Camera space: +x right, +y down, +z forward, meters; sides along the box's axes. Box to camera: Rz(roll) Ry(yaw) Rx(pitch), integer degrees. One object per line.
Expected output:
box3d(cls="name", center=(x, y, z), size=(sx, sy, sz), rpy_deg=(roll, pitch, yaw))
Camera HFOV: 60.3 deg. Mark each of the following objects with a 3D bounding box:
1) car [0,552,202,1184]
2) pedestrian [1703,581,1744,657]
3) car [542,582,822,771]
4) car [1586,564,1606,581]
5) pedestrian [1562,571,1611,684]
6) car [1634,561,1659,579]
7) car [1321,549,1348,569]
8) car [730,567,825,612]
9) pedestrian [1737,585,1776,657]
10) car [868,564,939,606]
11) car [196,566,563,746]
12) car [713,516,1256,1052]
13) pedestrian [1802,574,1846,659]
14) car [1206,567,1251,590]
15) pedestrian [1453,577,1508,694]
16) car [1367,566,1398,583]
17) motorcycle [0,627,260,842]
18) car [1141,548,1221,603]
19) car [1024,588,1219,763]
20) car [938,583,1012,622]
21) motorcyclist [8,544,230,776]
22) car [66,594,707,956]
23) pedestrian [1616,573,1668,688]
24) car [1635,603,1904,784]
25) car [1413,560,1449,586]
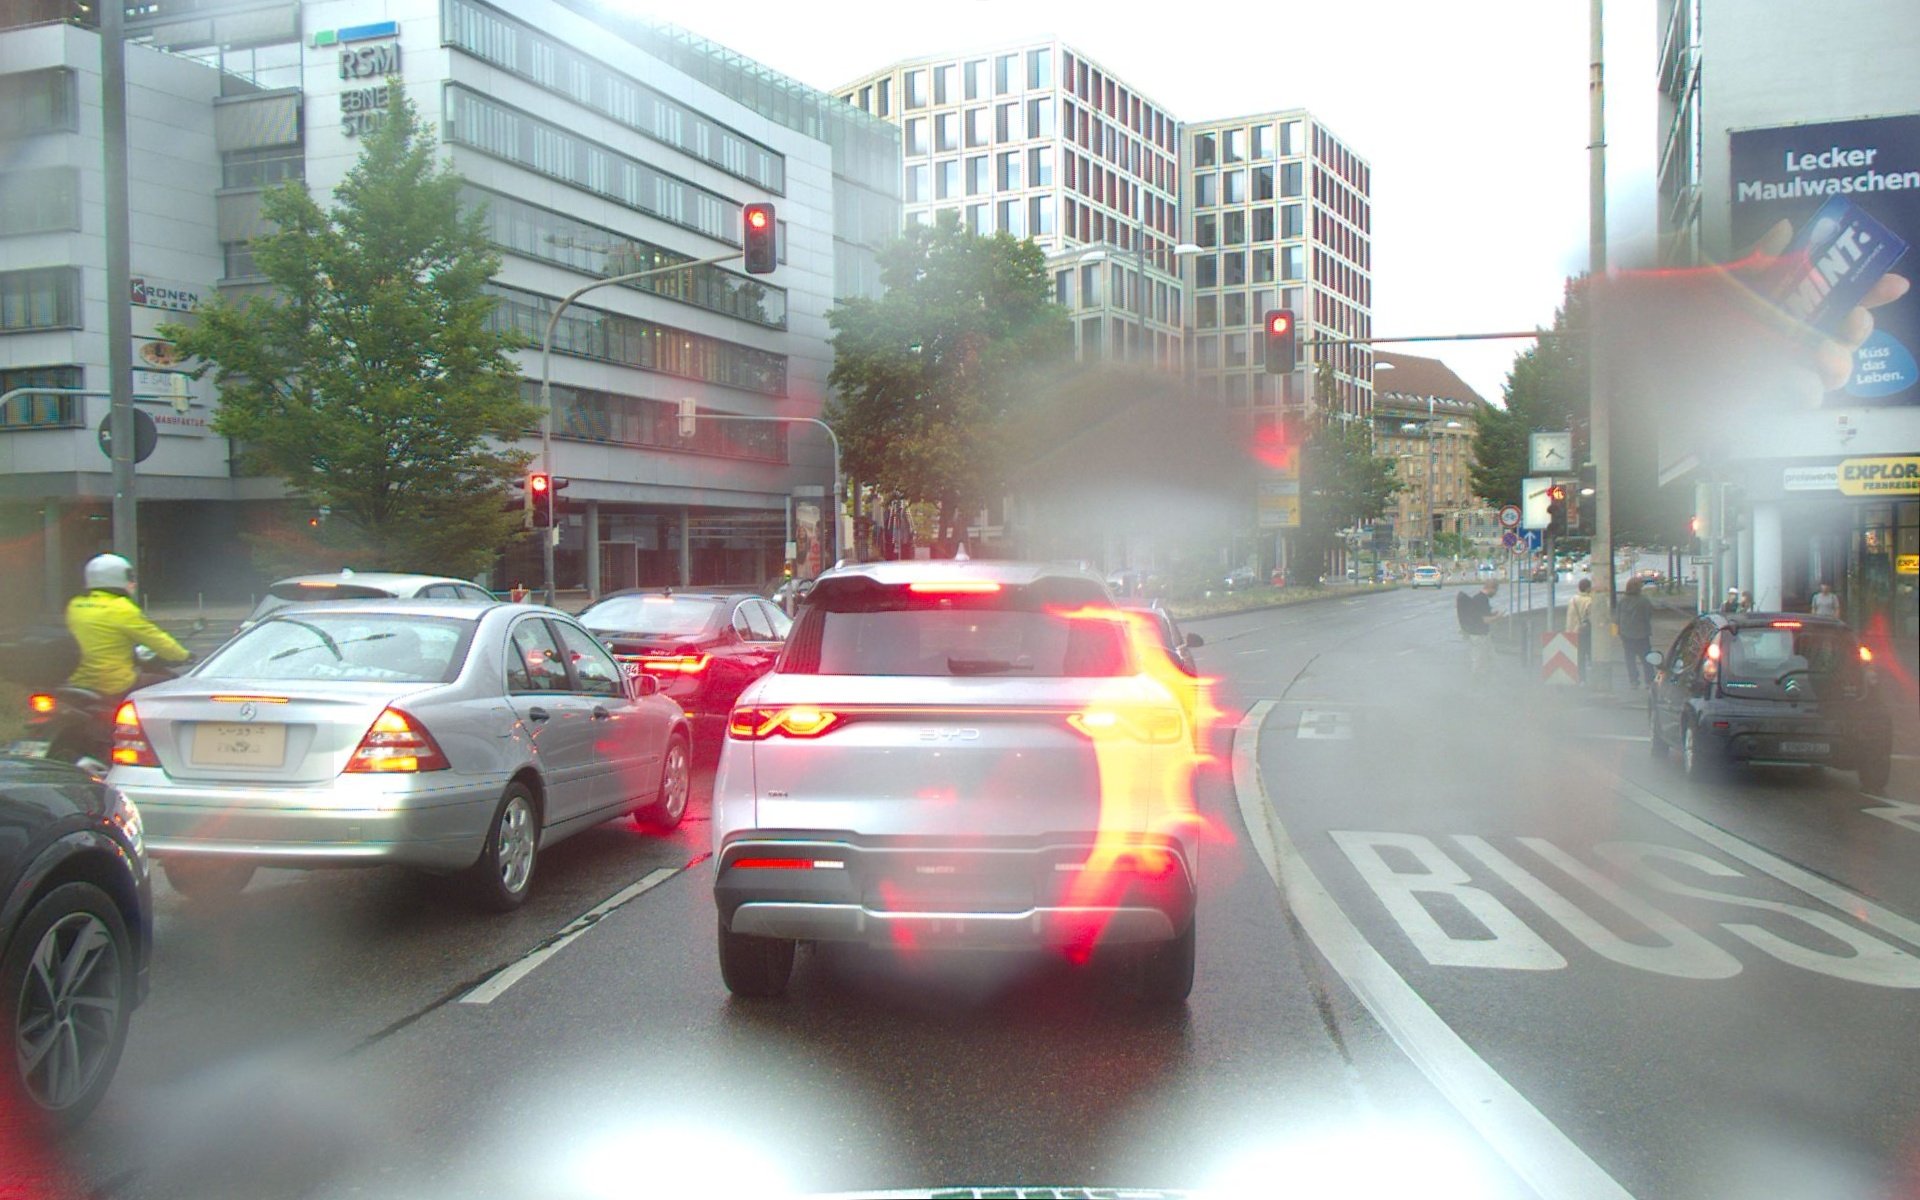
box3d(cls="car", center=(-3.141, 0.656, 2.951), size=(1.614, 1.548, 4.271), rpy_deg=(1, 1, 0))
box3d(cls="pedestrian", center=(17.170, 0.410, 37.202), size=(0.659, 1.684, 0.649), rpy_deg=(1, 0, 43))
box3d(cls="car", center=(-2.442, 0.633, 15.492), size=(1.537, 1.512, 4.003), rpy_deg=(1, 0, 6))
box3d(cls="car", center=(77.548, -3.353, 201.673), size=(1.954, 2.049, 3.996), rpy_deg=(1, 0, 26))
box3d(cls="pedestrian", center=(10.323, 0.438, 27.266), size=(0.733, 1.829, 0.817), rpy_deg=(0, 1, 20))
box3d(cls="car", center=(62.855, -2.713, 151.312), size=(1.662, 1.512, 3.993), rpy_deg=(1, 0, 29))
box3d(cls="car", center=(37.192, -4.060, 164.168), size=(1.577, 1.771, 3.437), rpy_deg=(1, 0, 31))
box3d(cls="car", center=(-6.758, -0.396, 61.626), size=(1.952, 1.639, 4.001), rpy_deg=(1, 1, 20))
box3d(cls="pedestrian", center=(17.655, 0.449, 36.642), size=(0.615, 1.570, 0.649), rpy_deg=(1, 0, 43))
box3d(cls="car", center=(-2.156, -0.591, 64.391), size=(1.609, 1.563, 4.155), rpy_deg=(1, 0, 15))
box3d(cls="car", center=(-5.466, 0.489, 16.168), size=(1.670, 1.512, 4.003), rpy_deg=(1, 0, 9))
box3d(cls="car", center=(0.125, 0.602, 7.367), size=(1.739, 1.708, 4.000), rpy_deg=(1, 0, 1))
box3d(cls="pedestrian", center=(18.723, 0.354, 35.844), size=(0.659, 1.825, 0.768), rpy_deg=(1, 0, 43))
box3d(cls="car", center=(18.252, -1.459, 112.337), size=(1.955, 1.514, 3.996), rpy_deg=(0, 1, 27))
box3d(cls="pedestrian", center=(7.930, 0.531, 25.211), size=(0.753, 1.762, 0.597), rpy_deg=(0, 0, 13))
box3d(cls="car", center=(39.178, -2.397, 153.244), size=(1.955, 1.514, 3.996), rpy_deg=(0, 1, 27))
box3d(cls="motorcycle", center=(-5.437, 0.795, 10.614), size=(0.783, 1.205, 2.030), rpy_deg=(1, 0, 8))
box3d(cls="car", center=(8.764, -0.939, 65.225), size=(1.953, 2.049, 4.848), rpy_deg=(1, 0, 22))
box3d(cls="car", center=(1.732, 0.674, 16.636), size=(1.657, 1.512, 4.003), rpy_deg=(1, 0, 10))
box3d(cls="car", center=(0.589, 0.113, 62.134), size=(1.655, 1.409, 3.870), rpy_deg=(1, 0, 18))
box3d(cls="motorcyclist", center=(-5.405, 0.368, 10.694), size=(0.753, 1.404, 1.119), rpy_deg=(1, 0, 8))
box3d(cls="car", center=(-2.668, 0.715, 8.785), size=(1.537, 1.432, 4.112), rpy_deg=(1, 0, 7))
box3d(cls="pedestrian", center=(11.046, 0.474, 26.811), size=(0.733, 1.829, 0.817), rpy_deg=(0, 1, 20))
box3d(cls="car", center=(7.476, 0.779, 15.634), size=(1.537, 1.454, 4.003), rpy_deg=(1, 0, 15))
box3d(cls="car", center=(30.501, -1.731, 107.042), size=(1.849, 1.671, 4.000), rpy_deg=(1, 1, 22))
